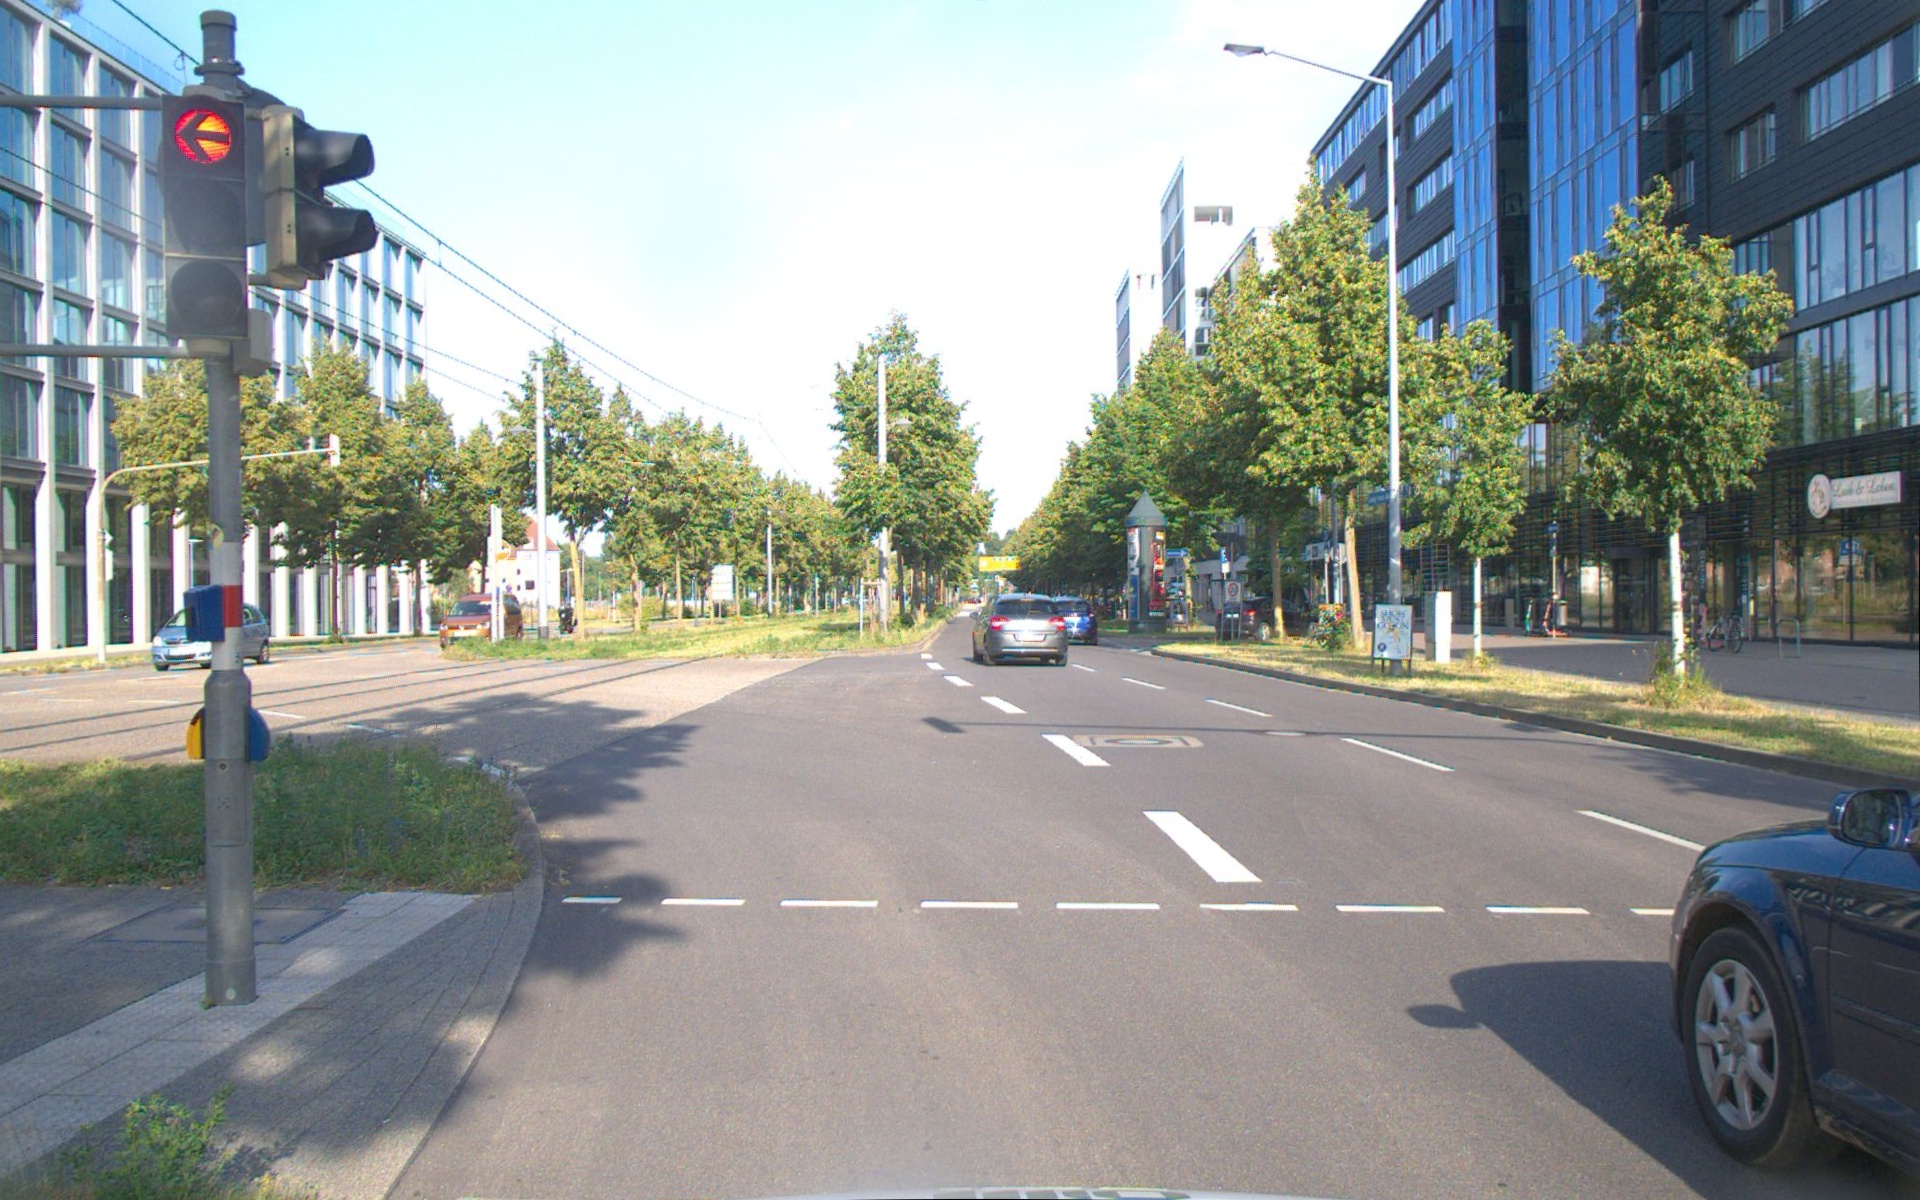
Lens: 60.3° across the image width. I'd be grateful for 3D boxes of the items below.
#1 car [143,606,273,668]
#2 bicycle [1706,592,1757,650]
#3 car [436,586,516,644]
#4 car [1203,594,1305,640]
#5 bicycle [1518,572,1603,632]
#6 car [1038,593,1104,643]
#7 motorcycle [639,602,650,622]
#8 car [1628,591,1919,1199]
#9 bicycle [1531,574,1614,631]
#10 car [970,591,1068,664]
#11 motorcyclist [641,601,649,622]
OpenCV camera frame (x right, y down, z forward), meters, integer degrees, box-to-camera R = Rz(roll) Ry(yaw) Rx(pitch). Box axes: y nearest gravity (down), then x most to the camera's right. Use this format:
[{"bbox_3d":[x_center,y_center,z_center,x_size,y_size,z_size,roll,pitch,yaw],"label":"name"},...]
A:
[{"bbox_3d":[-18.748,0.889,41.413,1.606,1.468,3.953,1,0,-3],"label":"car"},{"bbox_3d":[18.627,0.503,39.972,0.365,1.370,1.894,1,-1,1],"label":"bicycle"},{"bbox_3d":[-15.840,0.490,54.286,1.650,1.806,3.880,1,0,-3],"label":"car"},{"bbox_3d":[9.766,0.568,54.690,1.745,1.449,3.944,1,0,37],"label":"car"},{"bbox_3d":[19.485,0.073,53.665,2.510,1.890,0.570,1,-1,10],"label":"bicycle"},{"bbox_3d":[3.435,0.542,51.598,1.529,1.449,3.904,1,1,-4],"label":"car"},{"bbox_3d":[-24.245,0.915,127.265,0.464,1.557,1.992,1,0,-1],"label":"motorcycle"},{"bbox_3d":[2.995,0.724,3.155,1.716,1.460,4.034,1,0,-2],"label":"car"},{"bbox_3d":[19.538,0.090,52.794,2.383,1.776,0.554,1,-1,10],"label":"bicycle"},{"bbox_3d":[1.206,0.566,35.467,1.661,1.449,4.035,1,0,-4],"label":"car"},{"bbox_3d":[-24.242,0.905,127.369,0.476,1.592,0.455,1,-1,-1],"label":"motorcyclist"}]
